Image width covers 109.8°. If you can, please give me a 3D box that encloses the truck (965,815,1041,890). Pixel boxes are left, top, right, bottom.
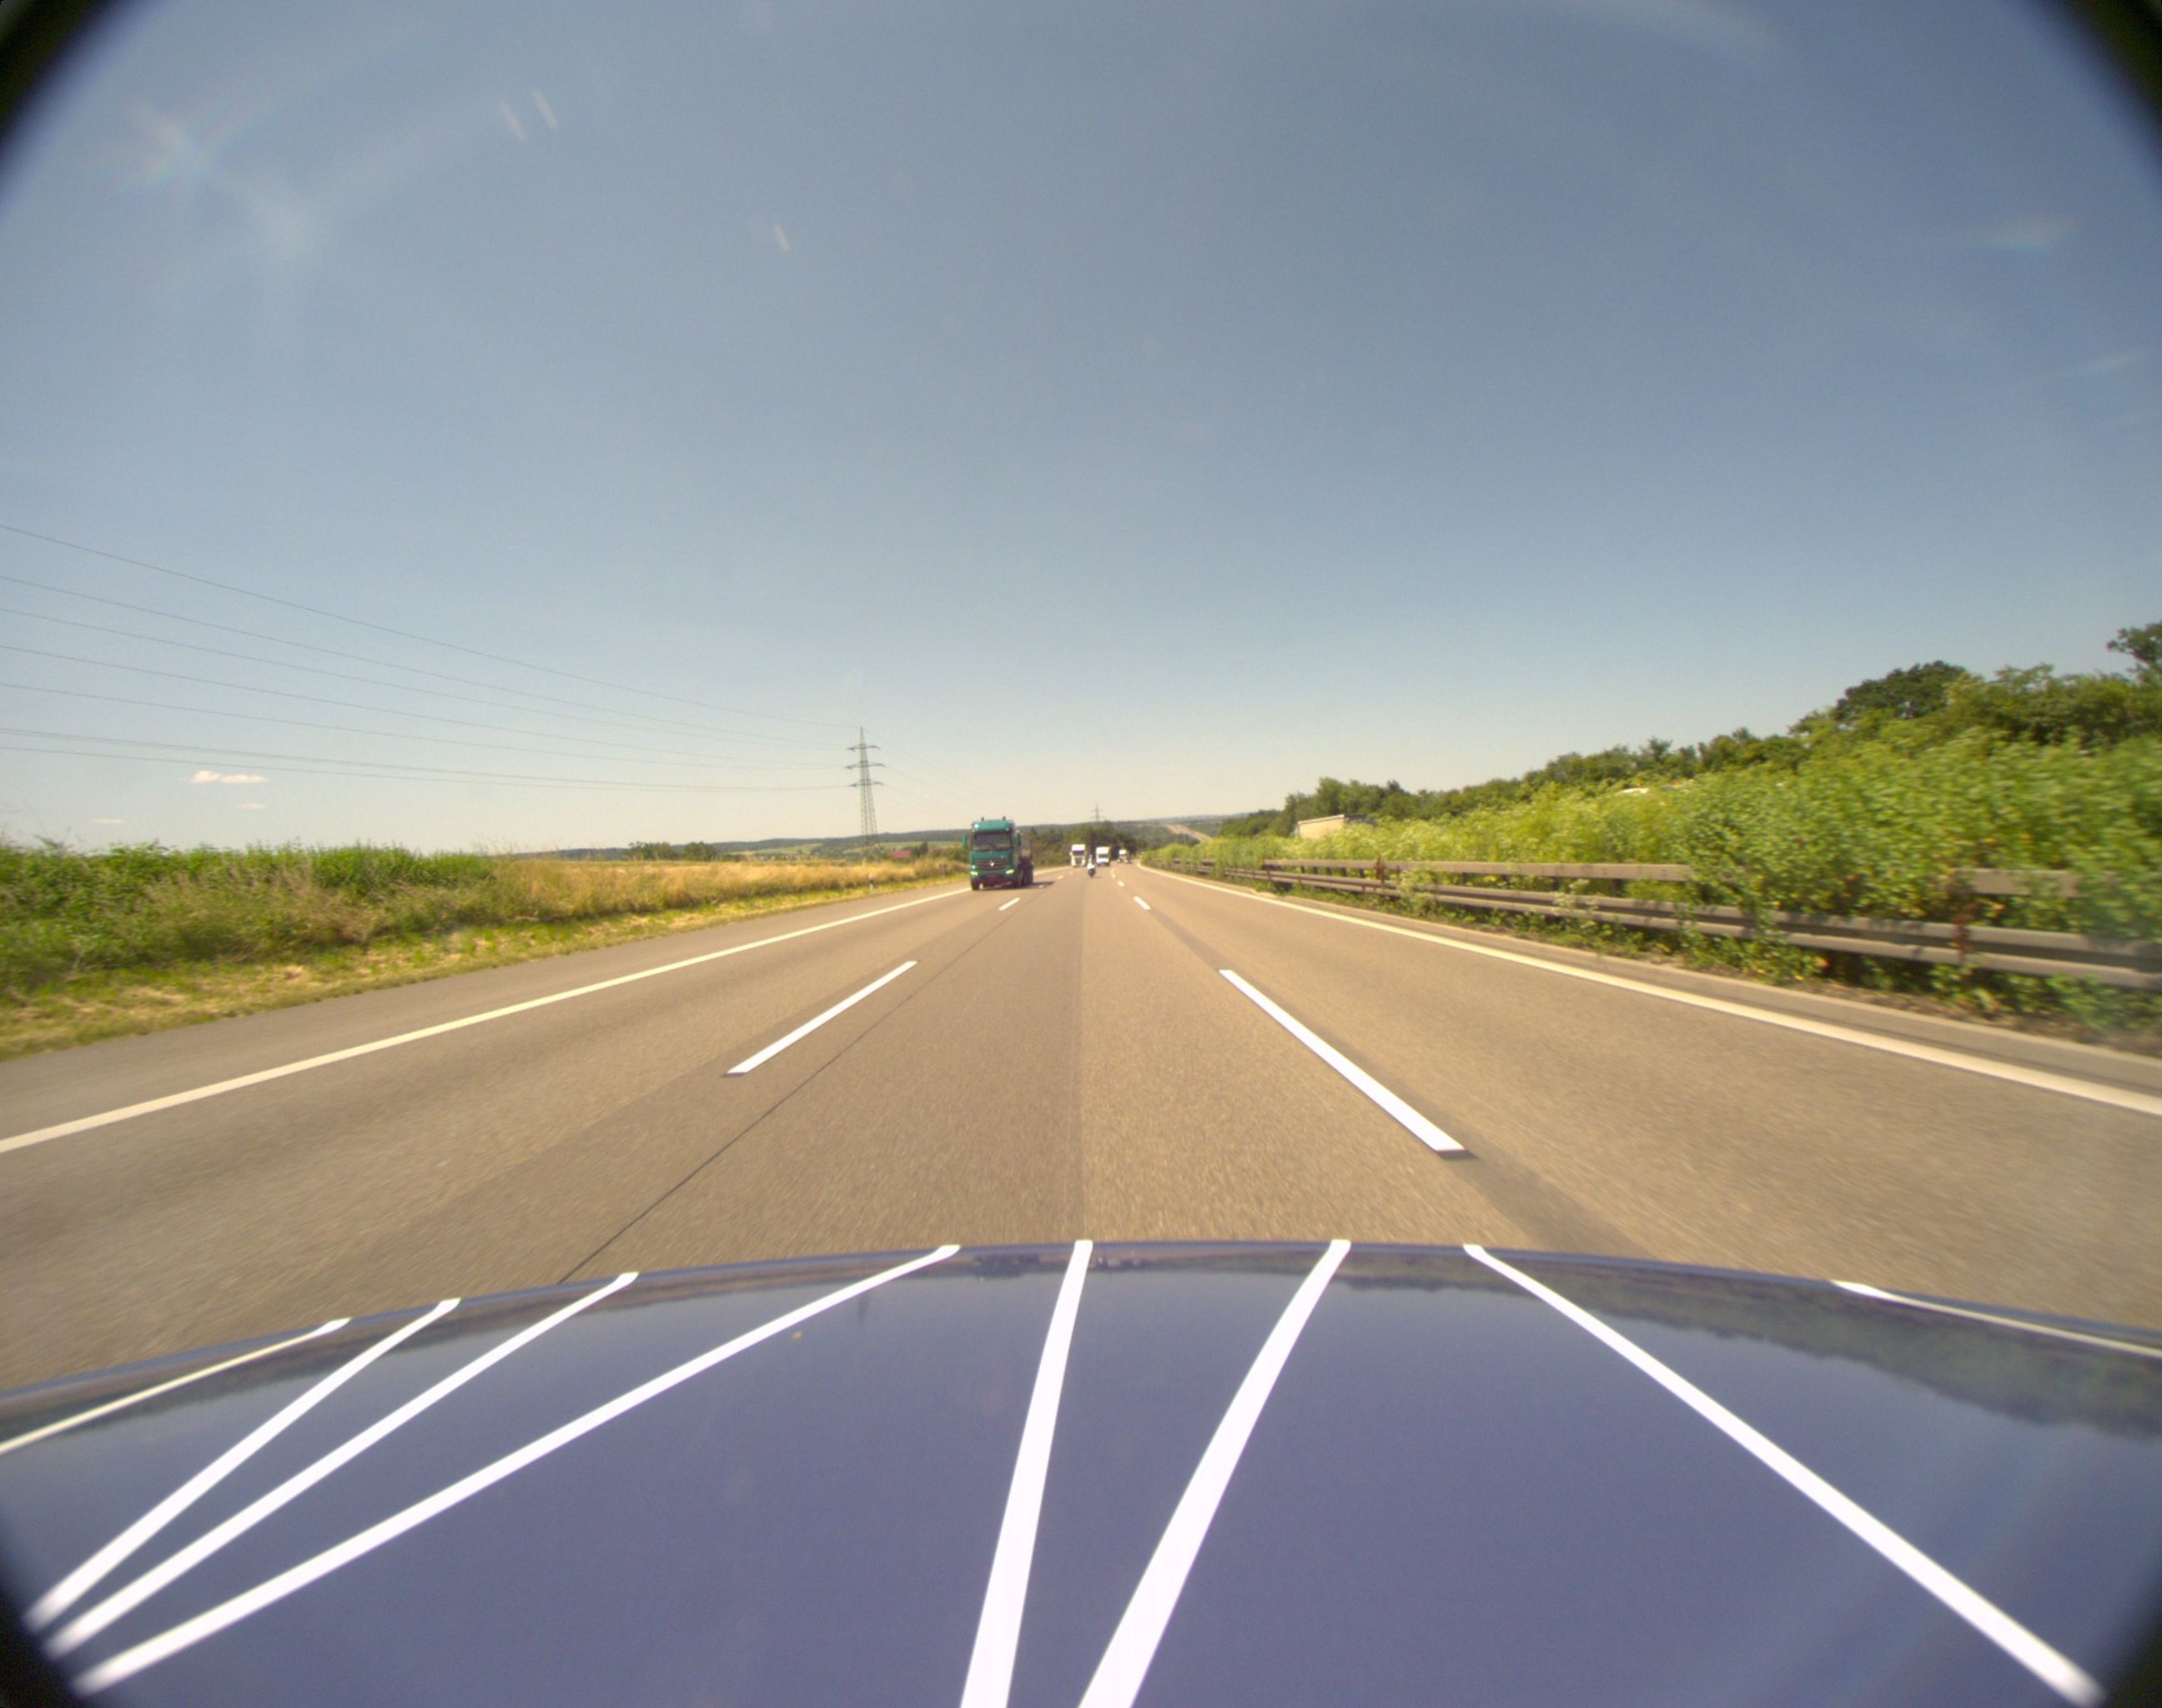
[{"bbox_3d":[-4.284,-0.096,44.907,2.872,3.702,12.762,-2,0,1],"label":"truck"}]

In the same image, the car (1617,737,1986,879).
[{"bbox_3d":[20.530,-1.119,22.782,2.800,3.333,8.797,-2,0,1],"label":"car"}]

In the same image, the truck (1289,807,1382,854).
[{"bbox_3d":[21.846,-1.835,66.789,2.680,3.497,17.039,-2,0,1],"label":"truck"}]

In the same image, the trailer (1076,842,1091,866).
[{"bbox_3d":[0.555,-0.029,148.771,2.607,4.239,13.034,-2,0,1],"label":"trailer"}]

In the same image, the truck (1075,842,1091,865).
[{"bbox_3d":[0.373,-0.027,141.491,2.567,4.129,6.249,-2,0,2],"label":"truck"}]

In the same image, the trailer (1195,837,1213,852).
[{"bbox_3d":[30.163,-2.185,186.575,2.603,3.423,15.832,-2,0,3],"label":"trailer"}]

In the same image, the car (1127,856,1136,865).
[{"bbox_3d":[11.613,1.474,174.657,1.704,1.958,4.000,-2,0,2],"label":"car"}]

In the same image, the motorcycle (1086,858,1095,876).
[{"bbox_3d":[0.721,0.943,57.218,0.631,1.279,2.313,-3,0,1],"label":"motorcycle"}]

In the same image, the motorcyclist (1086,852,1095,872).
[{"bbox_3d":[0.703,0.619,57.253,0.613,1.499,0.513,-2,1,1],"label":"motorcyclist"}]

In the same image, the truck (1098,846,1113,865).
[{"bbox_3d":[4.378,0.210,133.272,2.512,3.268,8.108,-1,0,2],"label":"truck"}]
